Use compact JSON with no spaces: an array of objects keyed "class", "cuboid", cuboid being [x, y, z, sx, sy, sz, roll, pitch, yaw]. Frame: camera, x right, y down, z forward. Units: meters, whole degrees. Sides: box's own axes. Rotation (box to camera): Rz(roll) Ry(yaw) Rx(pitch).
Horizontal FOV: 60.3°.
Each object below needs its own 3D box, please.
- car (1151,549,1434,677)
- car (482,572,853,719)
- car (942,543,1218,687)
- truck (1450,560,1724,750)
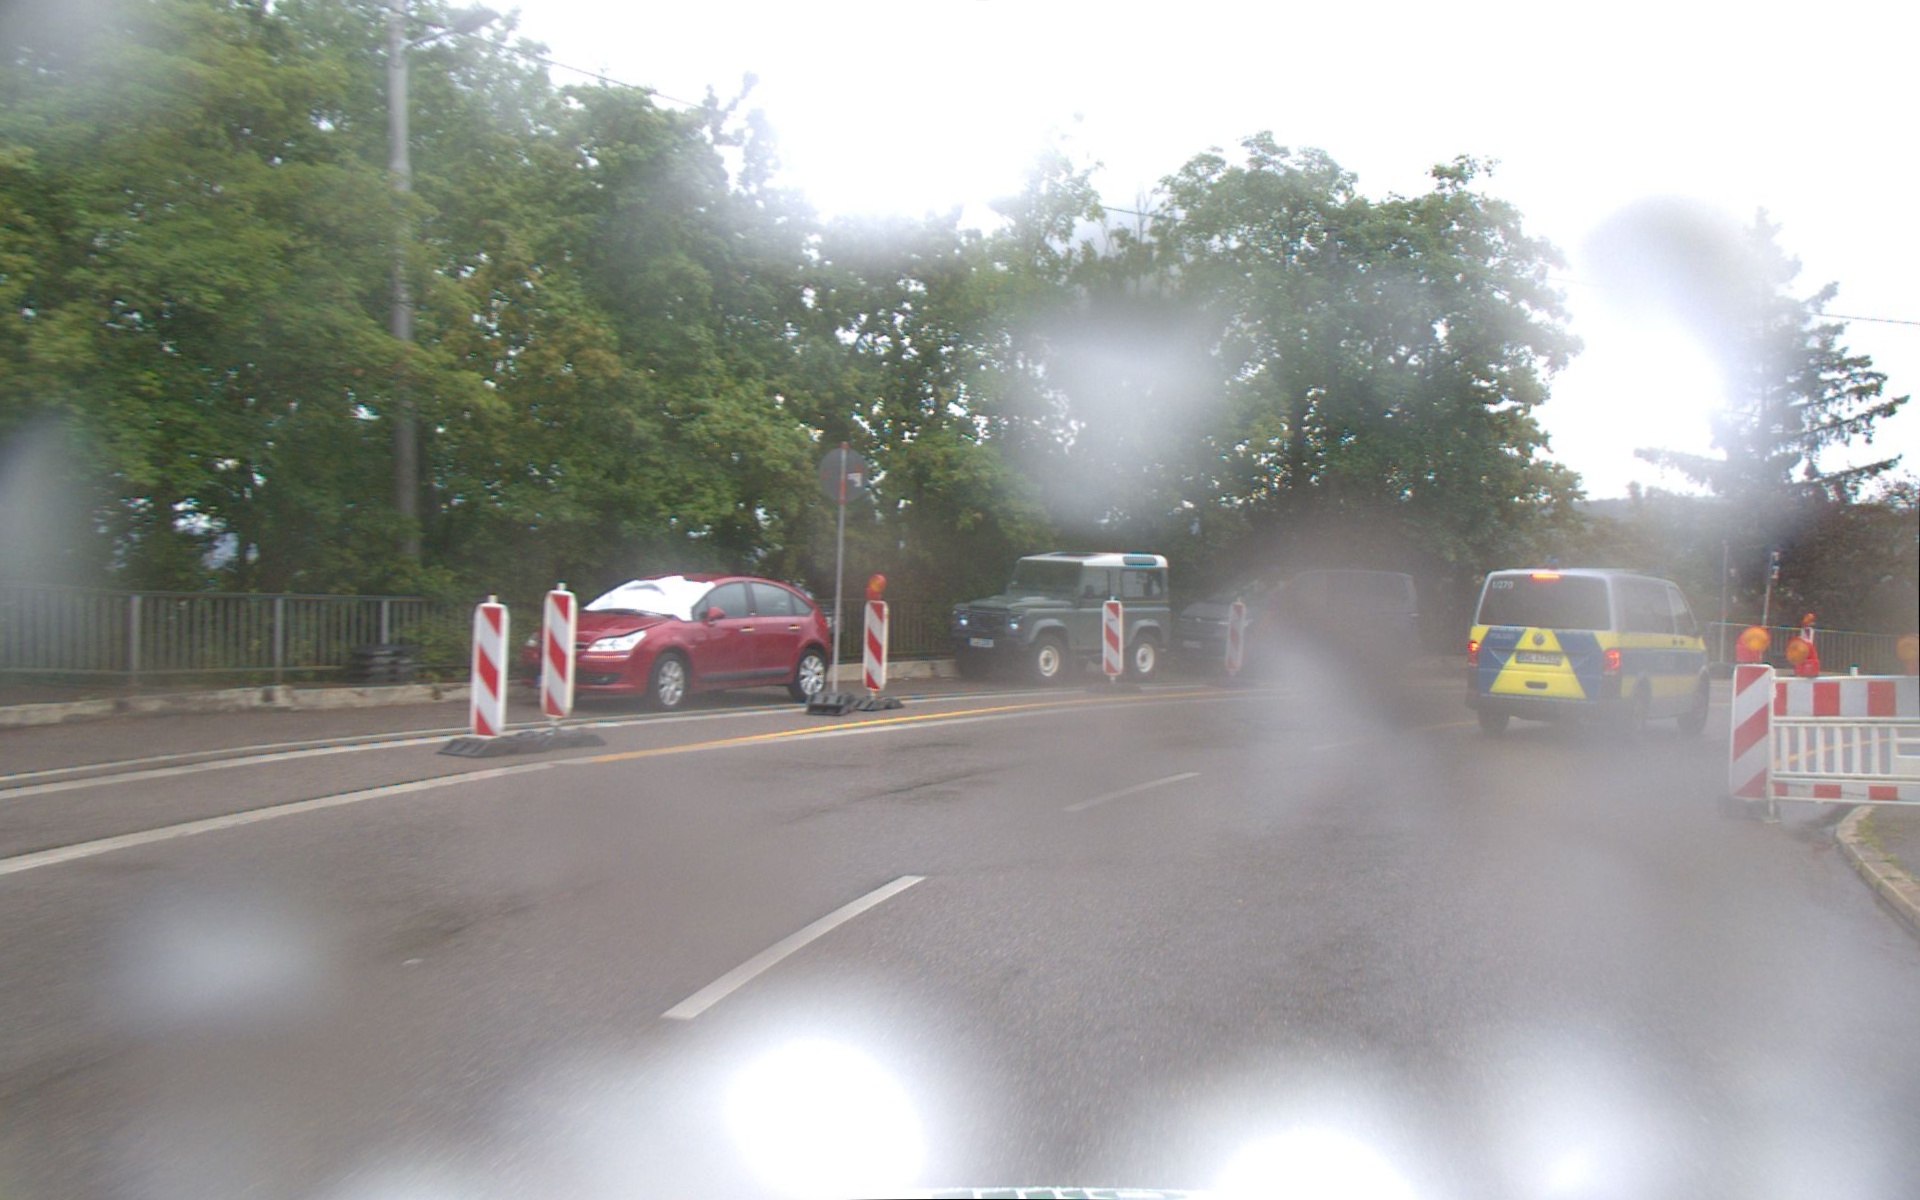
[{"class":"car","cuboid":[5.979,0.247,29.563,4.885,2.048,1.979,2,2,-33]},{"class":"car","cuboid":[-3.283,0.461,19.420,1.924,1.465,4.313,2,1,31]},{"class":"car","cuboid":[2.007,0.204,26.376,1.838,2.048,4.785,3,2,41]},{"class":"truck","cuboid":[7.826,0.612,20.359,1.961,2.049,4.715,0,-1,37]}]
